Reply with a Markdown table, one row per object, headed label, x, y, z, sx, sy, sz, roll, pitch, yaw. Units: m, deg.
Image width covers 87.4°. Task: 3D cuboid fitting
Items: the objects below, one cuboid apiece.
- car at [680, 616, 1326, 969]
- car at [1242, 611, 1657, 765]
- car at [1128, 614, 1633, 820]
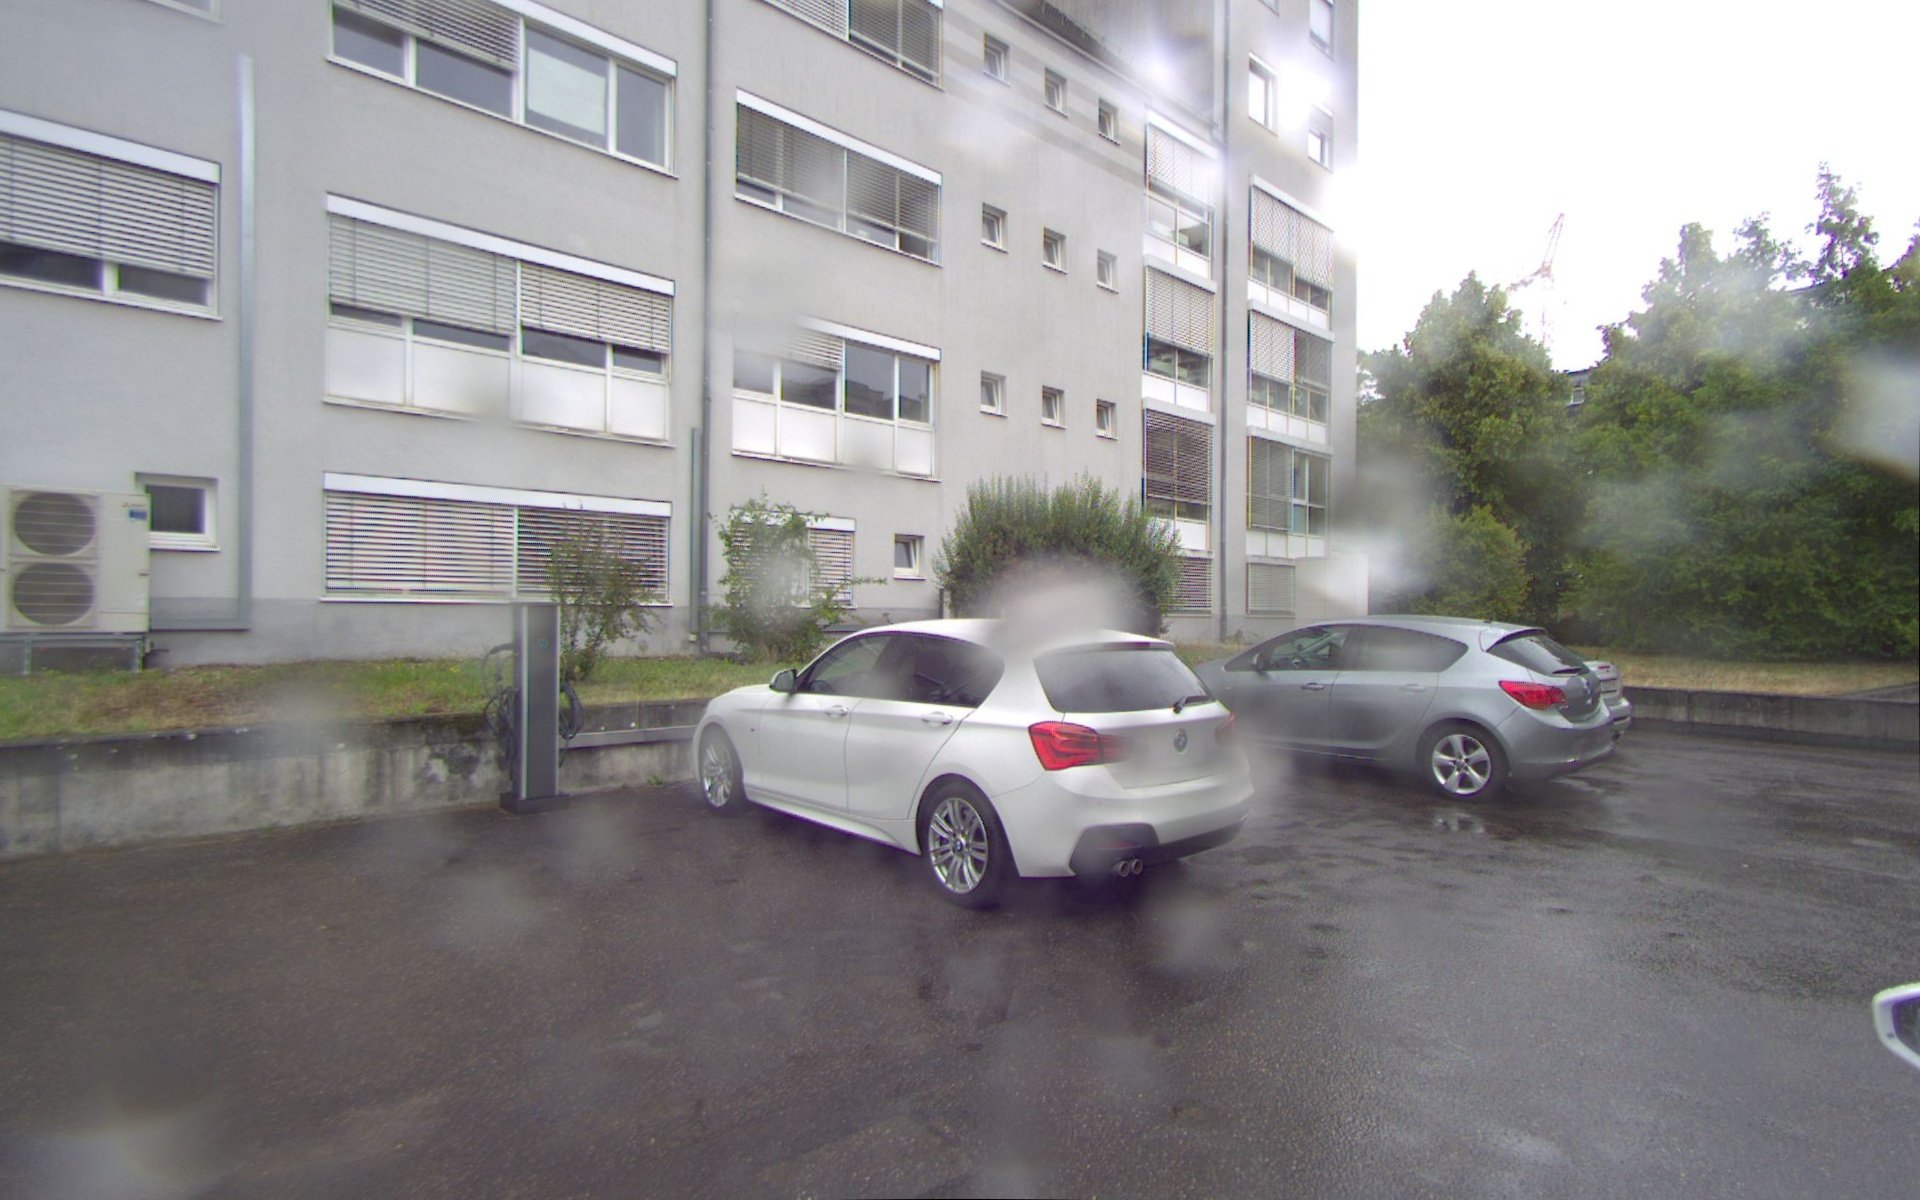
| label | x | y | z | sx | sy | sz | roll | pitch | yaw |
| --- | --- | --- | --- | --- | --- | --- | --- | --- | --- |
| car | -0.034 | 0.852 | 6.345 | 1.740 | 1.452 | 4.103 | 2 | -1 | -41 |
| car | 5.722 | 0.900 | 12.170 | 1.807 | 1.351 | 4.130 | 0 | 2 | -40 |
| car | 3.805 | 0.906 | 9.655 | 1.808 | 1.503 | 4.129 | 0 | 0 | -41 |
